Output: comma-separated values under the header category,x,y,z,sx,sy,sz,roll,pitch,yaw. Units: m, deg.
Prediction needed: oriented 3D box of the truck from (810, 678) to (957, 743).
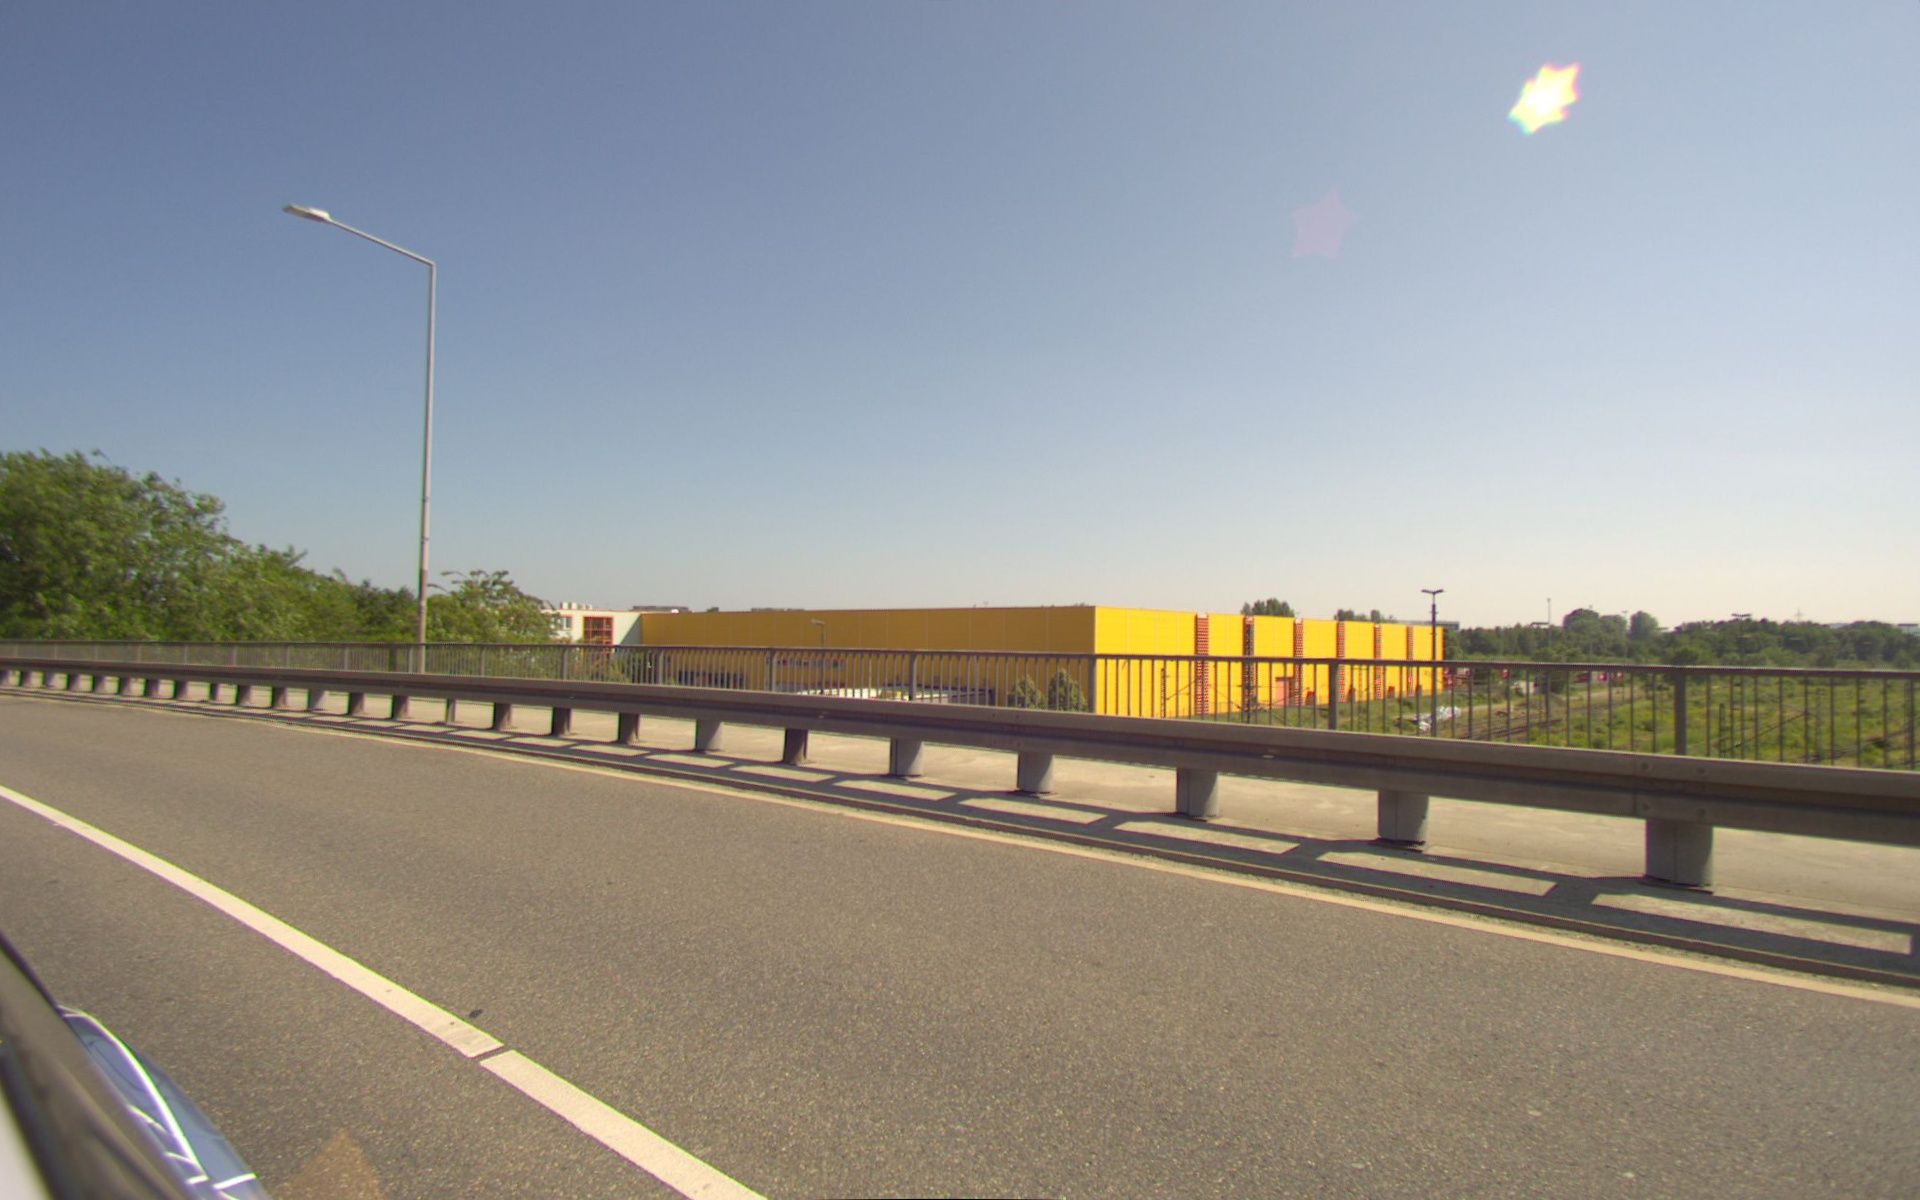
category,x,y,z,sx,sy,sz,roll,pitch,yaw
truck,-8.258,12.084,113.436,5.788,5.719,17.301,-1,-1,42

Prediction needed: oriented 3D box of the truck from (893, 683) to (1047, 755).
category,x,y,z,sx,sy,sz,roll,pitch,yaw
truck,1.377,11.980,104.573,5.976,5.719,17.301,-1,-1,42

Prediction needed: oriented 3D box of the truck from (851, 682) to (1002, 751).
category,x,y,z,sx,sy,sz,roll,pitch,yaw
truck,-3.305,12.261,109.160,5.976,5.719,17.301,-1,-1,42

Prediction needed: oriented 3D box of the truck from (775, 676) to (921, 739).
category,x,y,z,sx,sy,sz,roll,pitch,yaw
truck,-12.699,12.244,117.746,5.976,5.720,17.301,-1,-1,42
